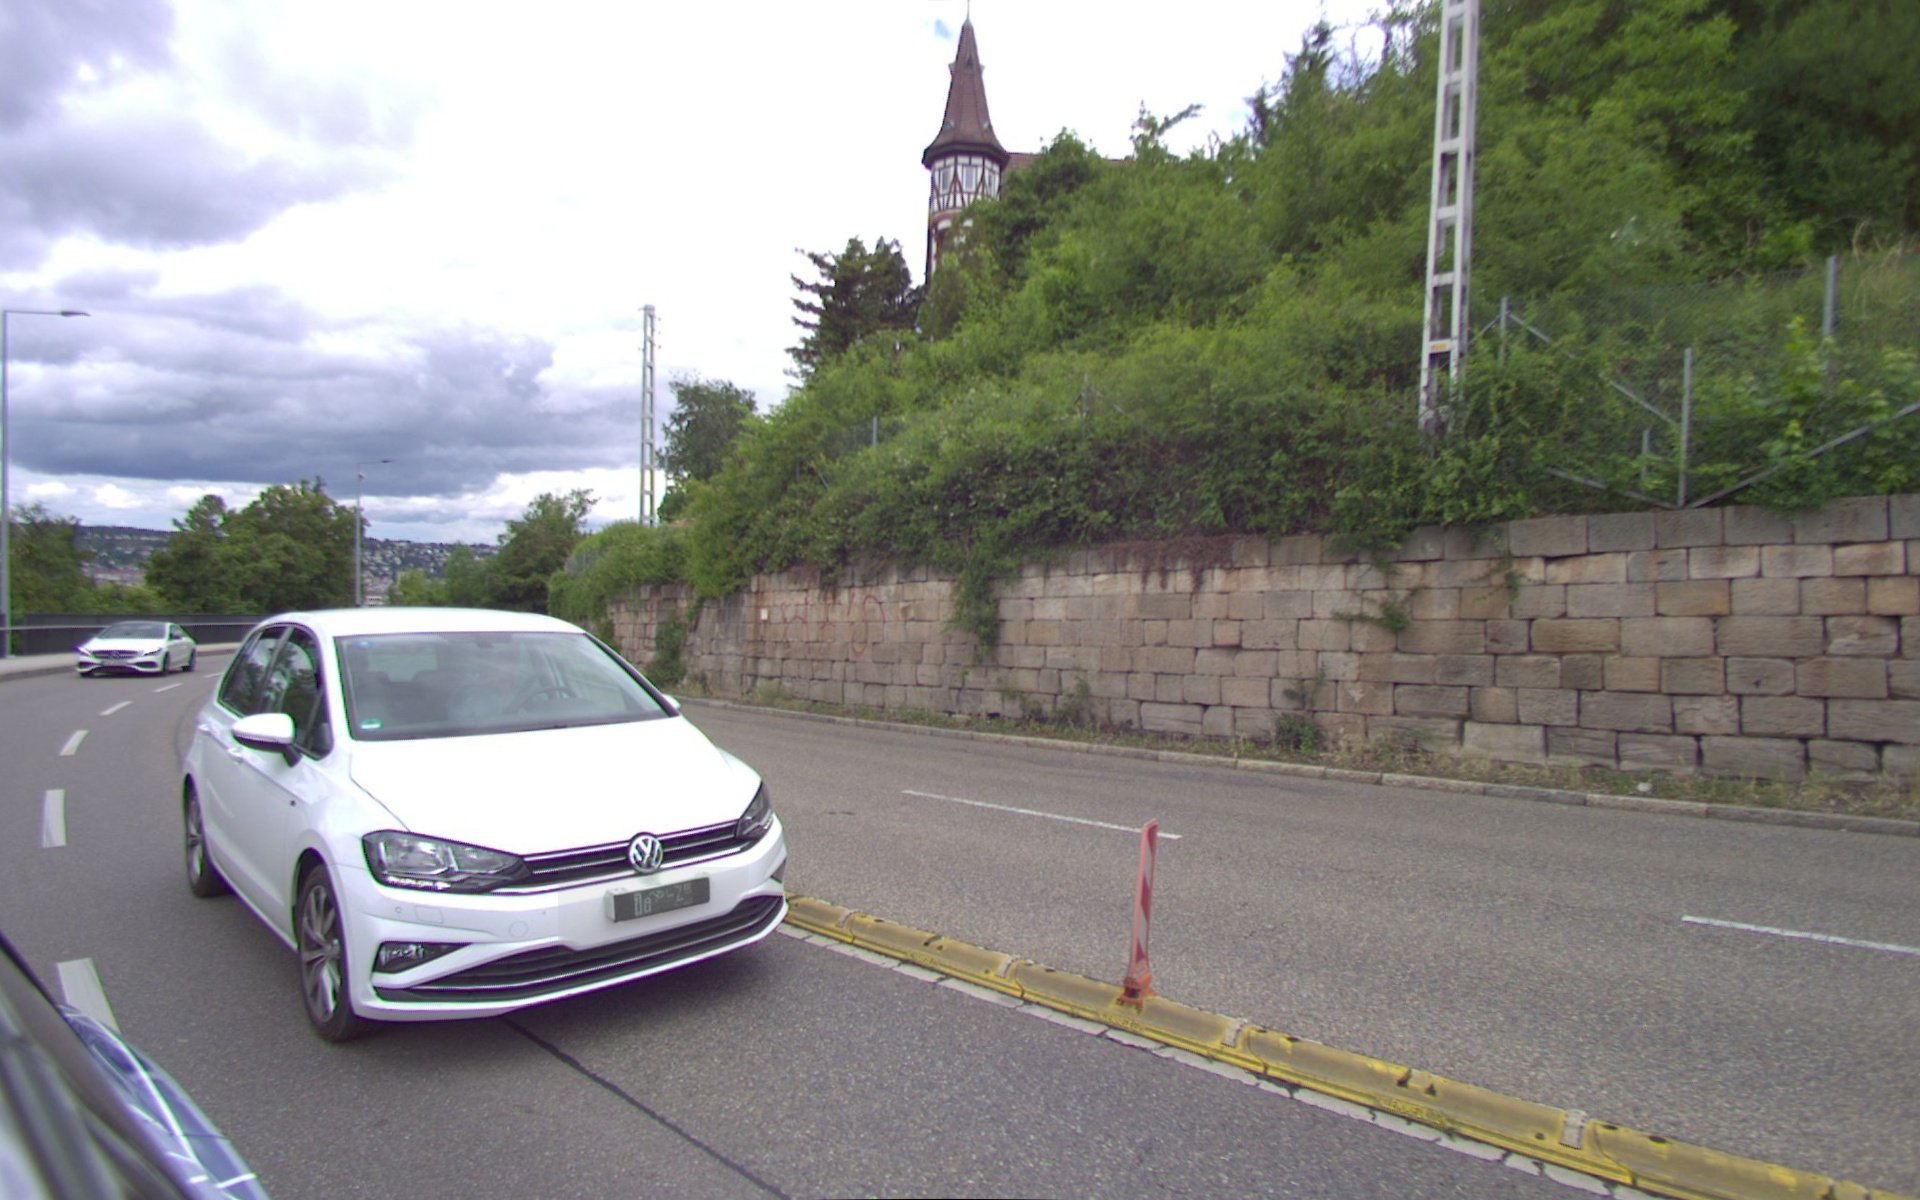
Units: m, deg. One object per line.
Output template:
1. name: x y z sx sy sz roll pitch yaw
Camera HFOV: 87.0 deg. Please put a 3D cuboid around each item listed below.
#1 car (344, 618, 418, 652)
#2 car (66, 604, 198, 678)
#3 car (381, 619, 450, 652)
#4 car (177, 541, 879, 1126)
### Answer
1. car: -26.872 1.592 47.102 1.870 1.505 4.152 0 -1 -13
2. car: -21.960 1.050 27.020 1.965 1.731 4.013 2 0 -28
3. car: -28.164 1.798 52.480 1.894 1.505 4.150 1 0 -10
4. car: -2.459 0.719 4.994 1.799 1.592 4.360 2 -3 -43
